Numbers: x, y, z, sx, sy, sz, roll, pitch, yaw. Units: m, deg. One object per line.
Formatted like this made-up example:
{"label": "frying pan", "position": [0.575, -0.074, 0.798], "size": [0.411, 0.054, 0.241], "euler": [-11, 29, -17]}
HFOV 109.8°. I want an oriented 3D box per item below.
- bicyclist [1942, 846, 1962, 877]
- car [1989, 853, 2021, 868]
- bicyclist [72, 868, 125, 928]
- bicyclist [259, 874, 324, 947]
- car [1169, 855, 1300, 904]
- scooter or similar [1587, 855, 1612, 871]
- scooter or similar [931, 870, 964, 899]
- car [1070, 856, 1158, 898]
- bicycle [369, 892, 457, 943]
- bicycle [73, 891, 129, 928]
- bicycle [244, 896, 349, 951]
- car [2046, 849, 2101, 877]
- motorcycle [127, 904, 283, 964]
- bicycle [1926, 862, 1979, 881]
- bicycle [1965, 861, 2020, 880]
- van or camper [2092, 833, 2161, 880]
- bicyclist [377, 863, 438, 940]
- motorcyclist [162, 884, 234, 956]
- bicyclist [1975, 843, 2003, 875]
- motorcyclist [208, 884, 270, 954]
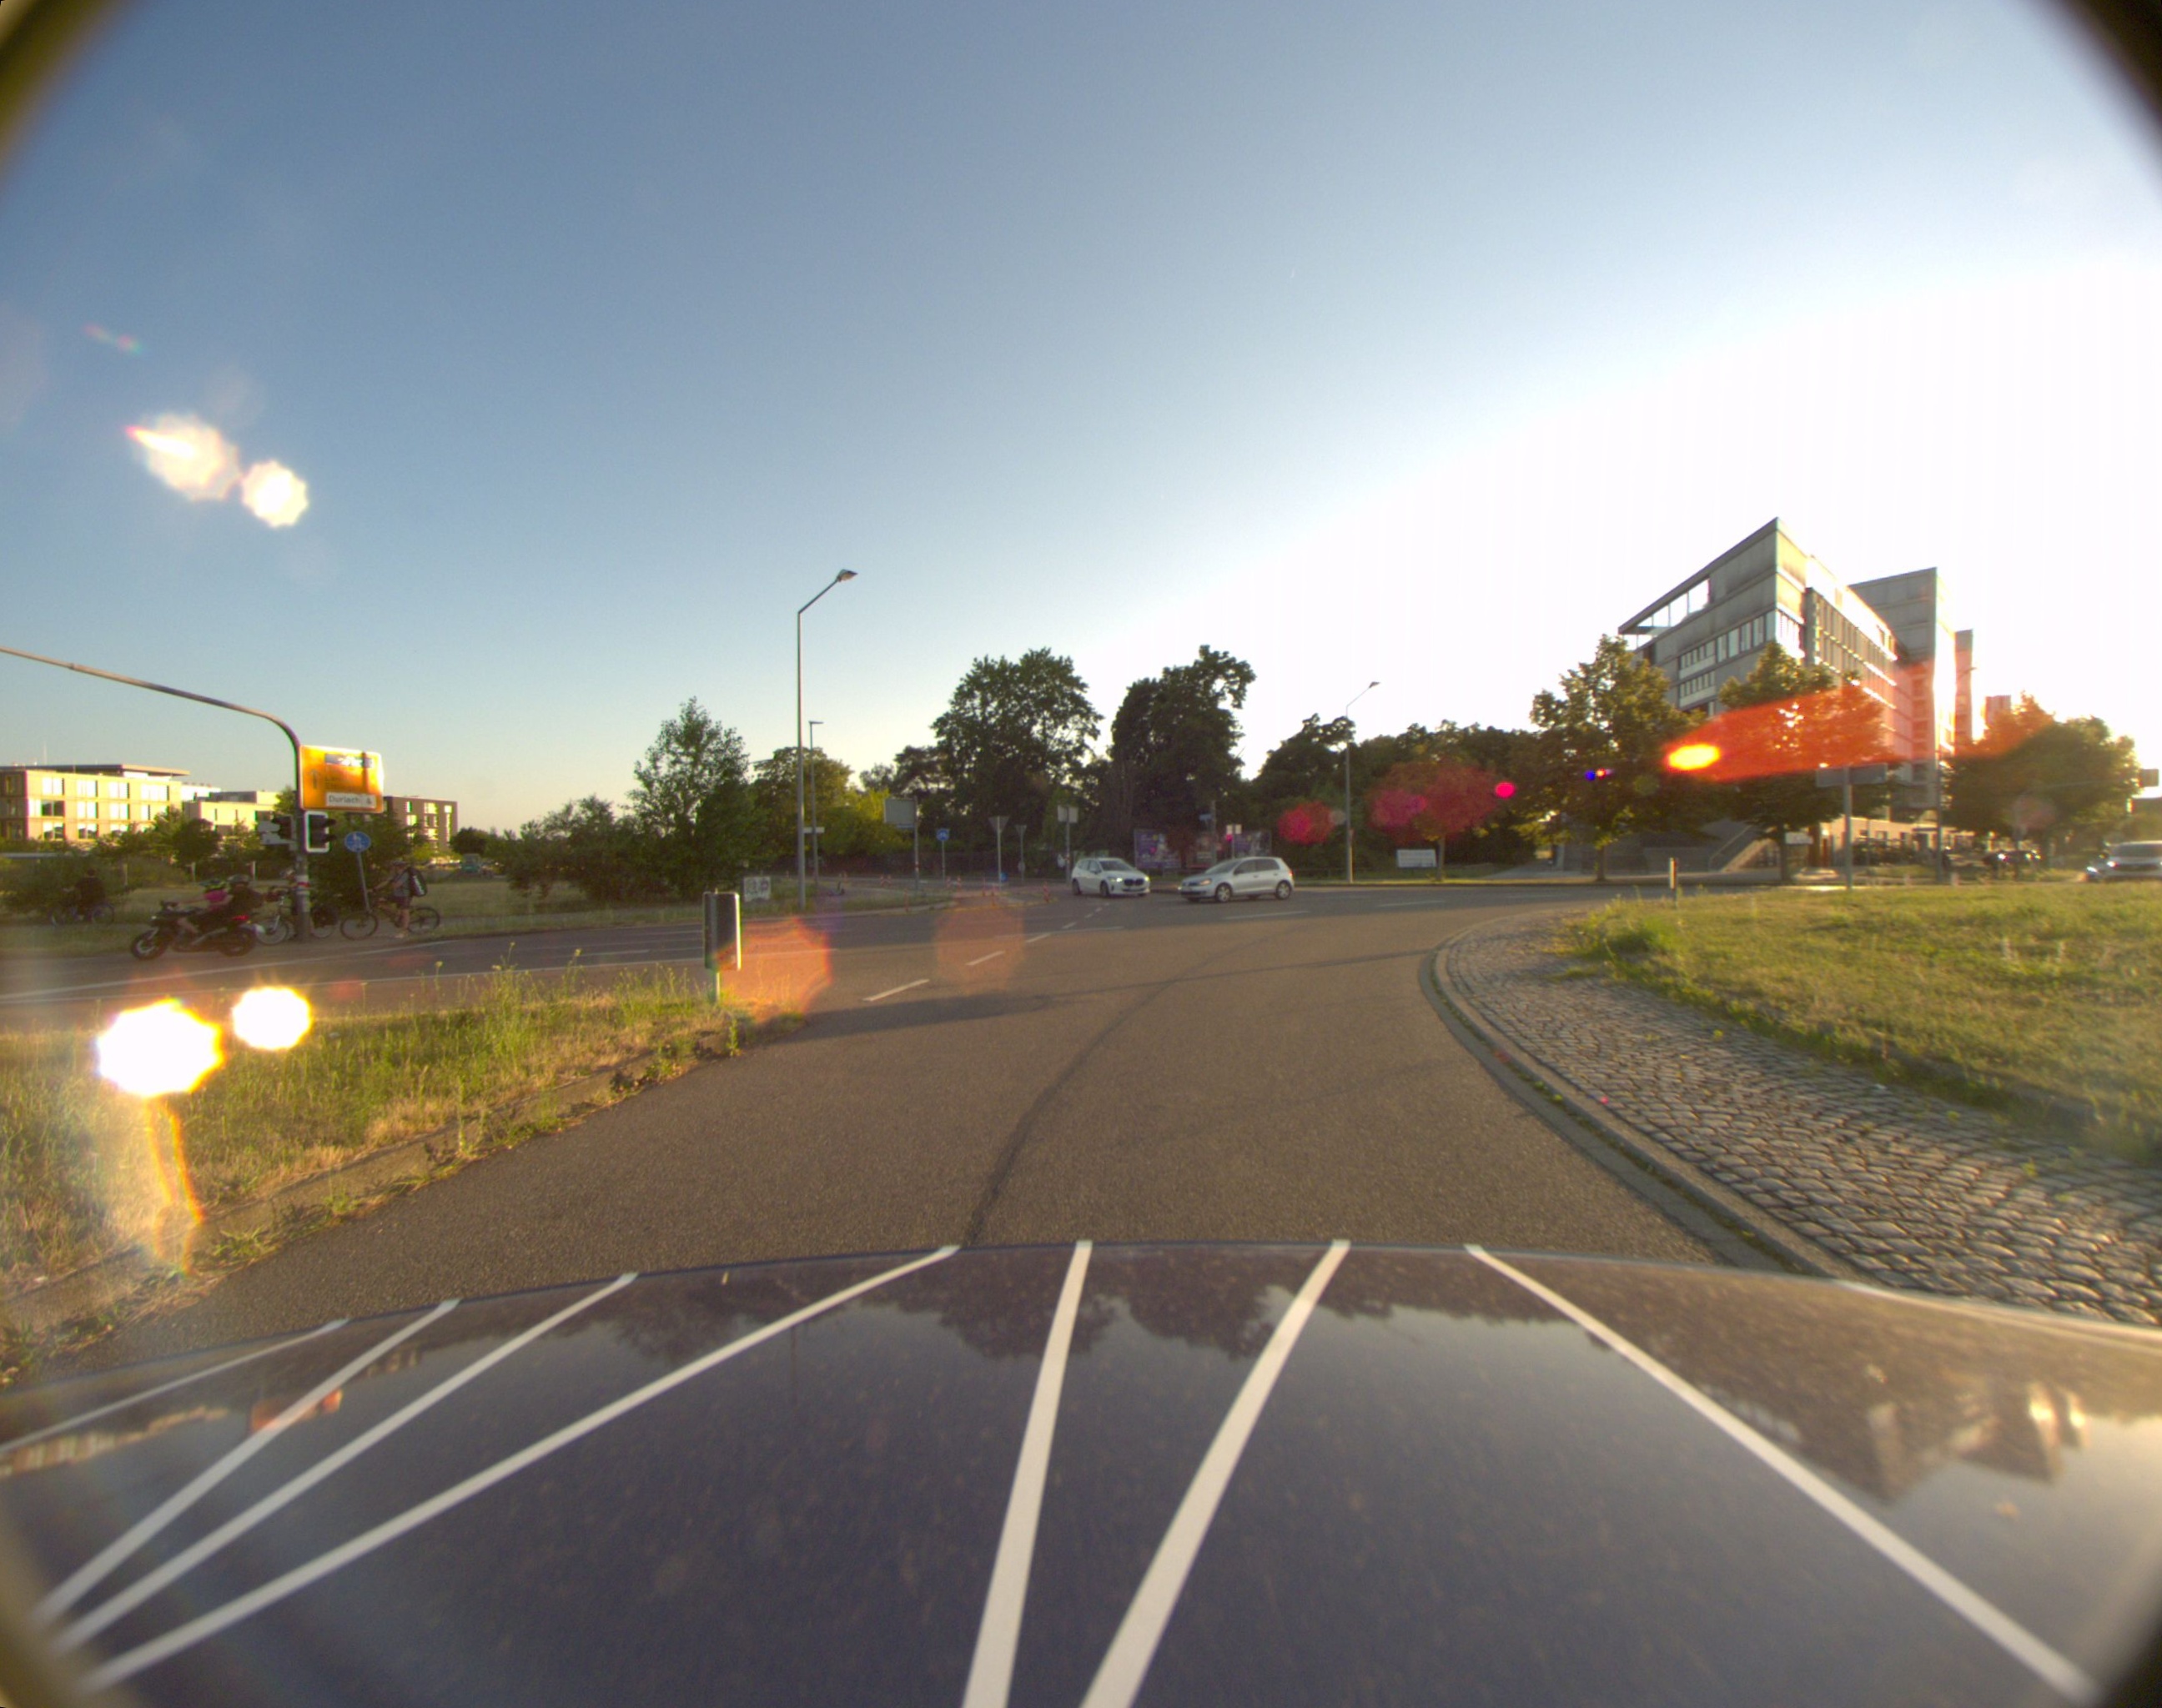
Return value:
{"label": "bicyclist", "position": [47.299, 0.397, 41.269], "size": [0.682, 1.638, 0.685], "euler": [0, 0, 44]}
{"label": "car", "position": [89.149, 0.617, 73.258], "size": [4.008, 1.455, 1.798], "euler": [0, 0, -37]}
{"label": "bicyclist", "position": [-29.160, 1.289, 22.554], "size": [0.843, 1.733, 0.537], "euler": [-1, 0, 3]}
{"label": "bicyclist", "position": [-19.155, 1.355, 18.448], "size": [0.641, 1.693, 0.770], "euler": [-1, 3, 1]}
{"label": "car", "position": [5.231, 0.814, 25.939], "size": [4.056, 1.472, 1.888], "euler": [-1, 0, -26]}
{"label": "scooter or similar", "position": [39.383, 0.696, 57.693], "size": [0.367, 1.213, 1.573], "euler": [-1, 0, -27]}
{"label": "scooter or similar", "position": [-5.543, 1.244, 31.634], "size": [0.441, 1.156, 1.386], "euler": [0, 0, 39]}
{"label": "car", "position": [1.259, 0.889, 31.000], "size": [1.893, 1.549, 4.087], "euler": [-1, 0, -25]}
{"label": "bicycle", "position": [-16.992, 1.599, 19.388], "size": [0.456, 1.079, 1.928], "euler": [-1, 2, 2]}
{"label": "bicycle", "position": [-29.122, 1.647, 22.581], "size": [1.371, 1.082, 0.280], "euler": [-1, 1, 3]}
{"label": "bicycle", "position": [-19.107, 1.663, 18.565], "size": [0.456, 1.079, 1.927], "euler": [-1, 3, 2]}
{"label": "car", "position": [55.266, 0.471, 42.309], "size": [4.007, 1.455, 1.798], "euler": [-1, 1, -37]}
{"label": "motorcycle", "position": [-18.108, 1.647, 15.754], "size": [2.161, 1.094, 0.557], "euler": [-1, 1, -14]}
{"label": "bicycle", "position": [47.161, 0.934, 41.136], "size": [1.858, 1.016, 0.308], "euler": [-1, 0, 44]}
{"label": "bicycle", "position": [49.546, 0.879, 41.326], "size": [0.438, 1.016, 1.859], "euler": [-1, 0, -29]}
{"label": "van or camper", "position": [47.620, 0.060, 33.822], "size": [5.335, 1.946, 1.996], "euler": [-1, 1, -24]}
{"label": "bicyclist", "position": [-17.031, 1.182, 19.237], "size": [0.641, 1.887, 0.910], "euler": [-1, 2, 1]}
{"label": "motorcyclist", "position": [-18.255, 1.344, 15.722], "size": [0.715, 1.408, 0.635], "euler": [-1, 1, -16]}
{"label": "bicyclist", "position": [49.112, 0.271, 41.086], "size": [0.805, 1.745, 0.847], "euler": [-1, 0, -30]}
{"label": "motorcyclist", "position": [-17.613, 1.343, 15.908], "size": [0.594, 1.400, 0.635], "euler": [-1, 1, -15]}
